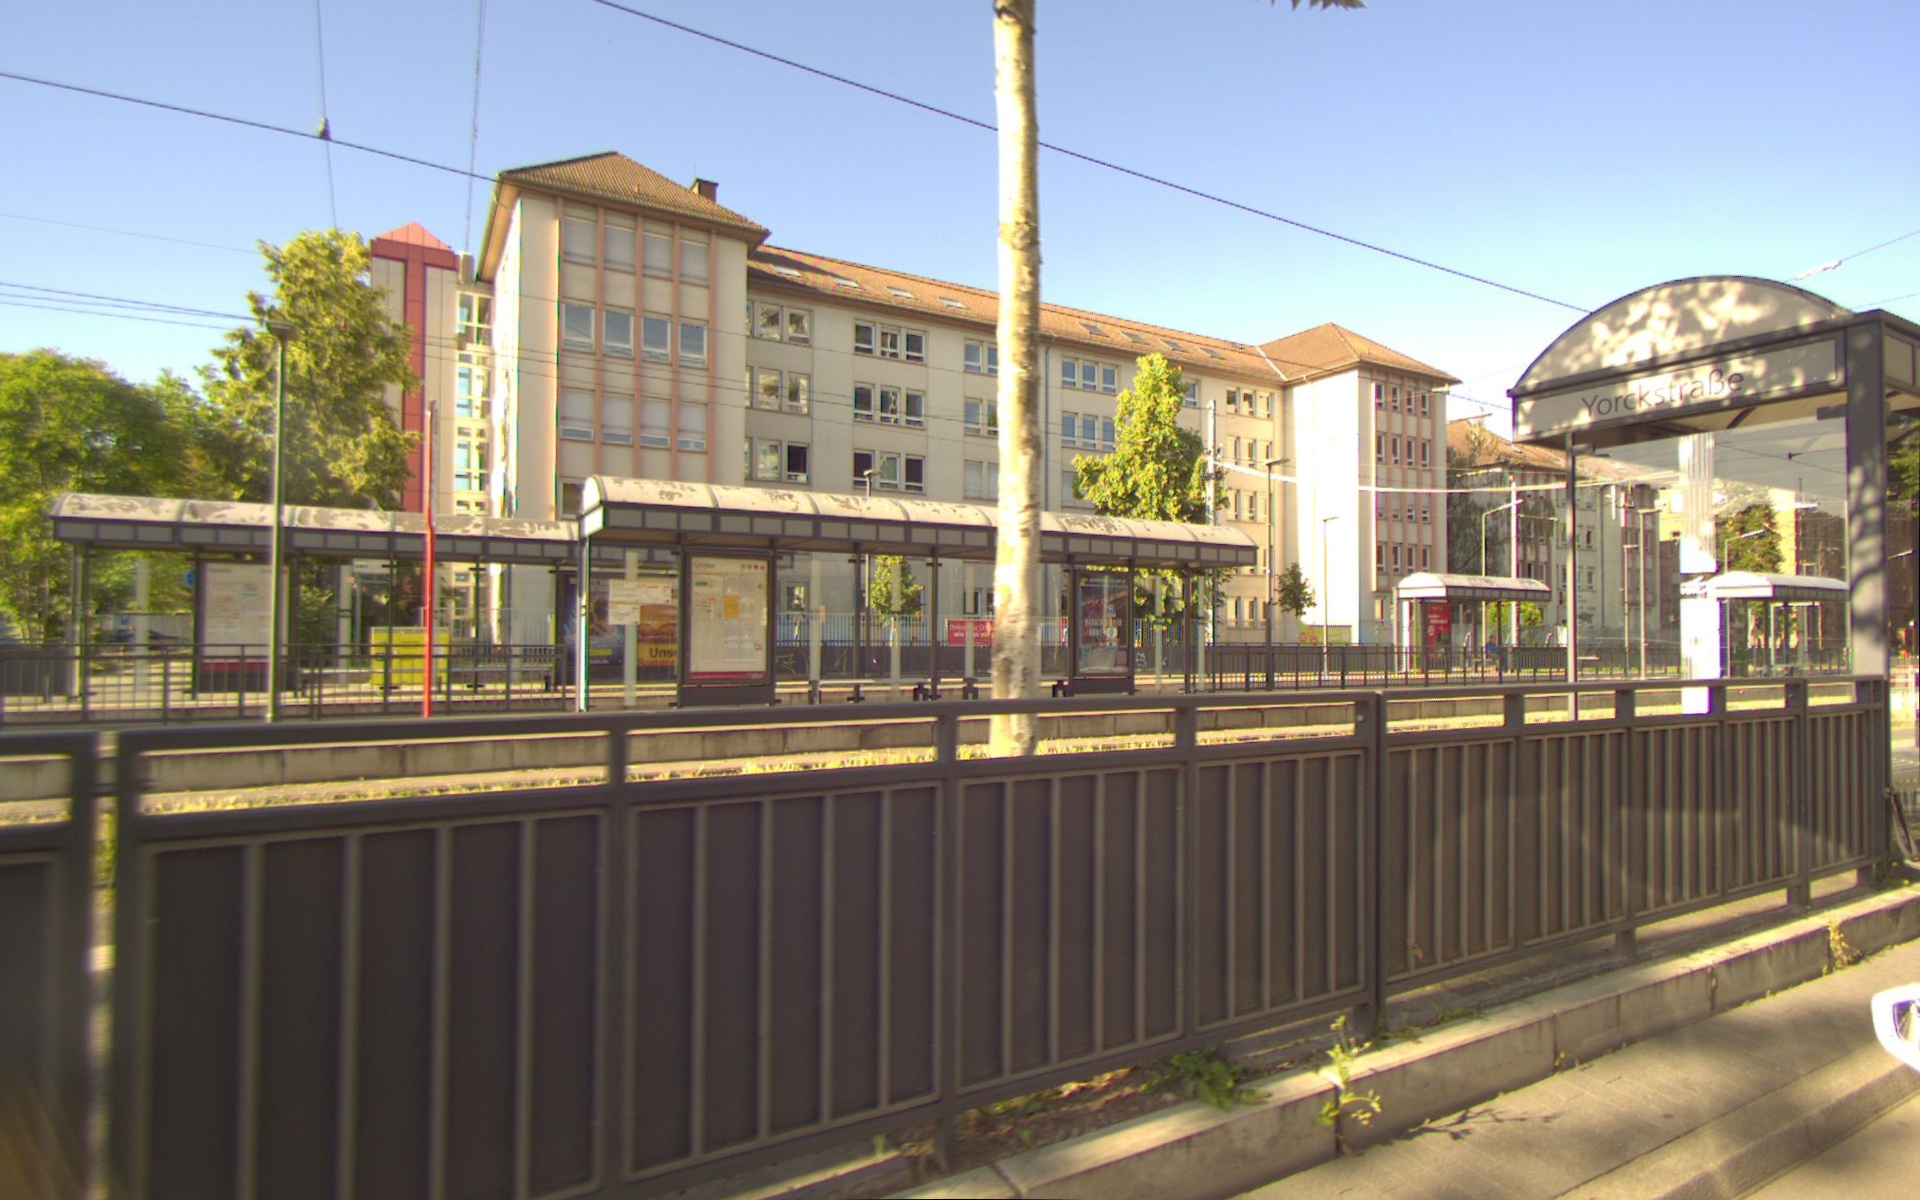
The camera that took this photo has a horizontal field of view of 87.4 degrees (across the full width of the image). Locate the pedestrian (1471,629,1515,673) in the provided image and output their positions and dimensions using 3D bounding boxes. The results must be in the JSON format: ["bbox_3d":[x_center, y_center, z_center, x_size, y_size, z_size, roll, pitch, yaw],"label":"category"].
[{"bbox_3d":[17.536,1.673,33.043,0.869,1.394,0.970,1,-1,-30],"label":"pedestrian"}]
